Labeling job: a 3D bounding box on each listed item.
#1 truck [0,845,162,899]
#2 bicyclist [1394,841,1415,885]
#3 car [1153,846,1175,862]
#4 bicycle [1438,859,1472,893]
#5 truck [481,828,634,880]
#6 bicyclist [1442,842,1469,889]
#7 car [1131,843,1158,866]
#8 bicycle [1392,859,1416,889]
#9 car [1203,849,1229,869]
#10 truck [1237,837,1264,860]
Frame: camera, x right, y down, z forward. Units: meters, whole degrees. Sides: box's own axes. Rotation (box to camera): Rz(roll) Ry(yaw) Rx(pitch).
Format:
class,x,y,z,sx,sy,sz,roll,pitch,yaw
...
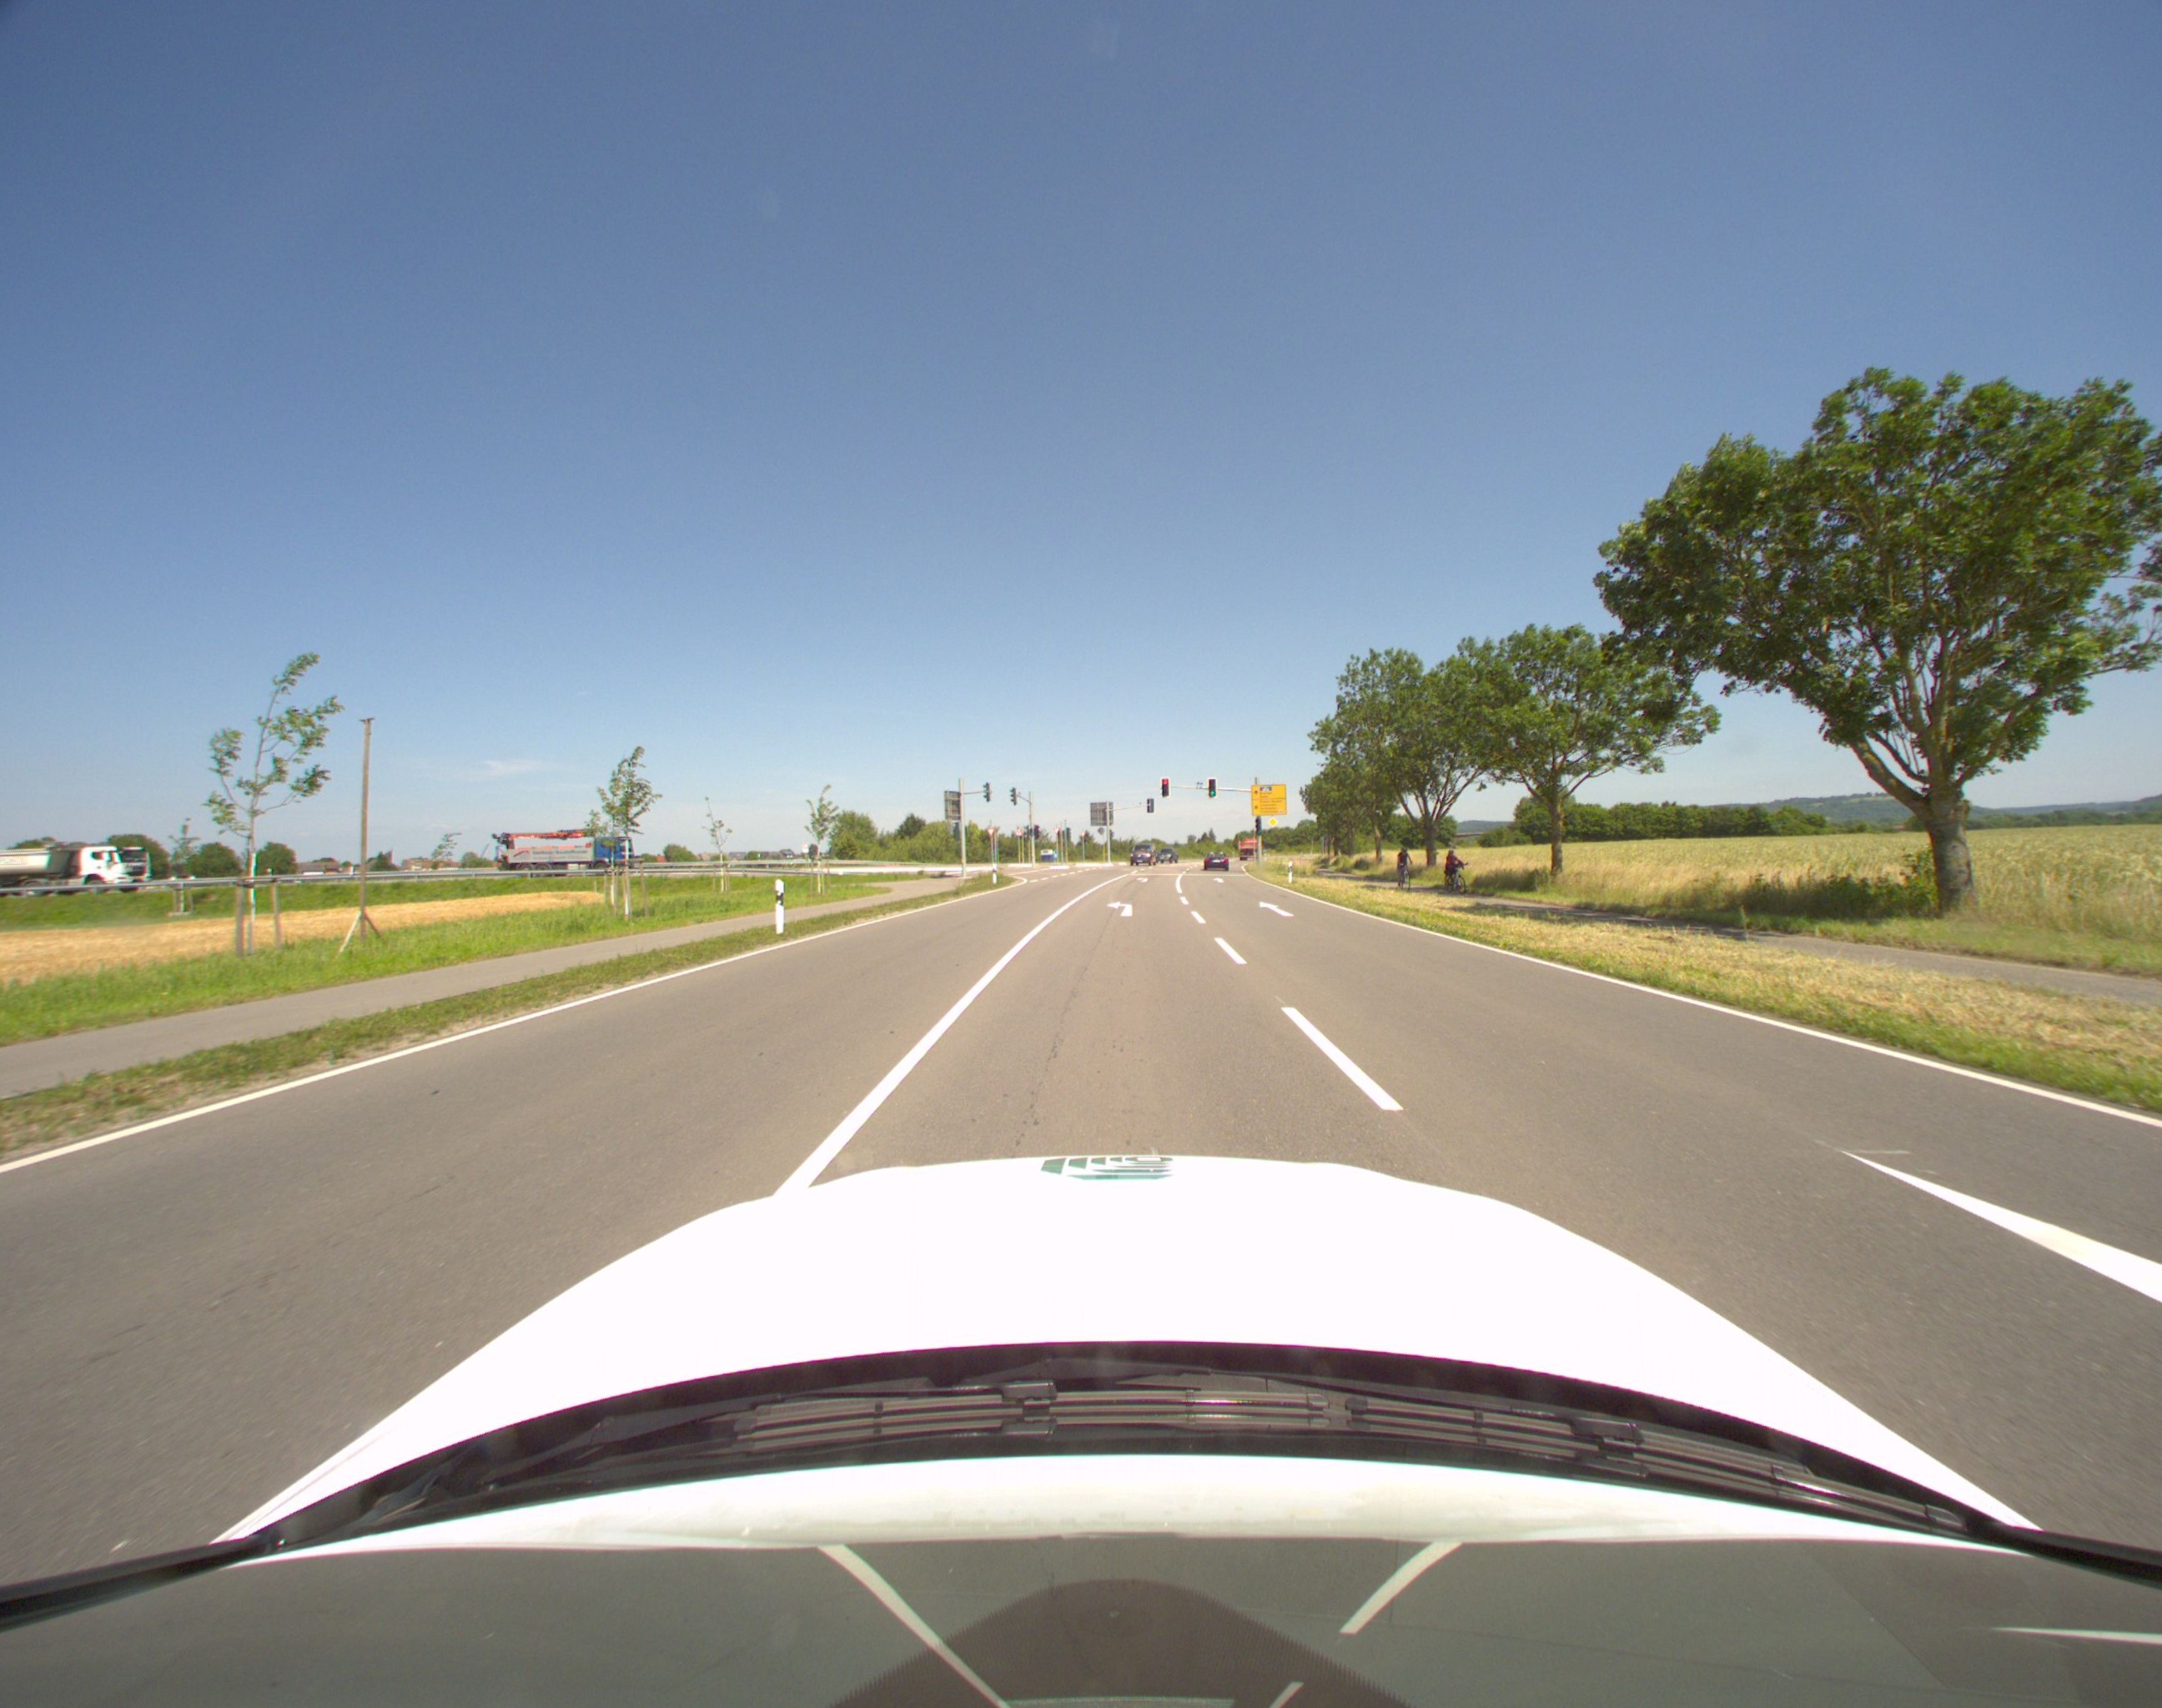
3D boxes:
class,x,y,z,sx,sy,sz,roll,pitch,yaw
truck,-73.128,1.276,57.359,11.982,3.614,2.974,-1,0,-8
bicyclist,13.286,0.345,33.462,0.583,1.734,1.176,3,1,14
car,9.070,-0.030,88.911,1.918,1.739,4.904,-1,0,11
bicycle,14.433,0.826,31.466,0.694,1.210,2.056,1,0,10
truck,-40.849,-0.021,63.759,10.055,3.793,2.624,-1,0,-3
bicyclist,14.447,0.433,31.439,0.624,1.782,0.981,3,1,10
car,5.776,0.046,73.625,1.918,1.978,4.698,-1,0,10
bicycle,13.234,0.809,33.358,0.601,1.176,2.058,2,0,14
car,9.628,0.371,57.987,1.736,1.376,3.690,0,-1,11
truck,23.612,-0.679,113.335,2.692,3.053,8.202,-1,-1,18
